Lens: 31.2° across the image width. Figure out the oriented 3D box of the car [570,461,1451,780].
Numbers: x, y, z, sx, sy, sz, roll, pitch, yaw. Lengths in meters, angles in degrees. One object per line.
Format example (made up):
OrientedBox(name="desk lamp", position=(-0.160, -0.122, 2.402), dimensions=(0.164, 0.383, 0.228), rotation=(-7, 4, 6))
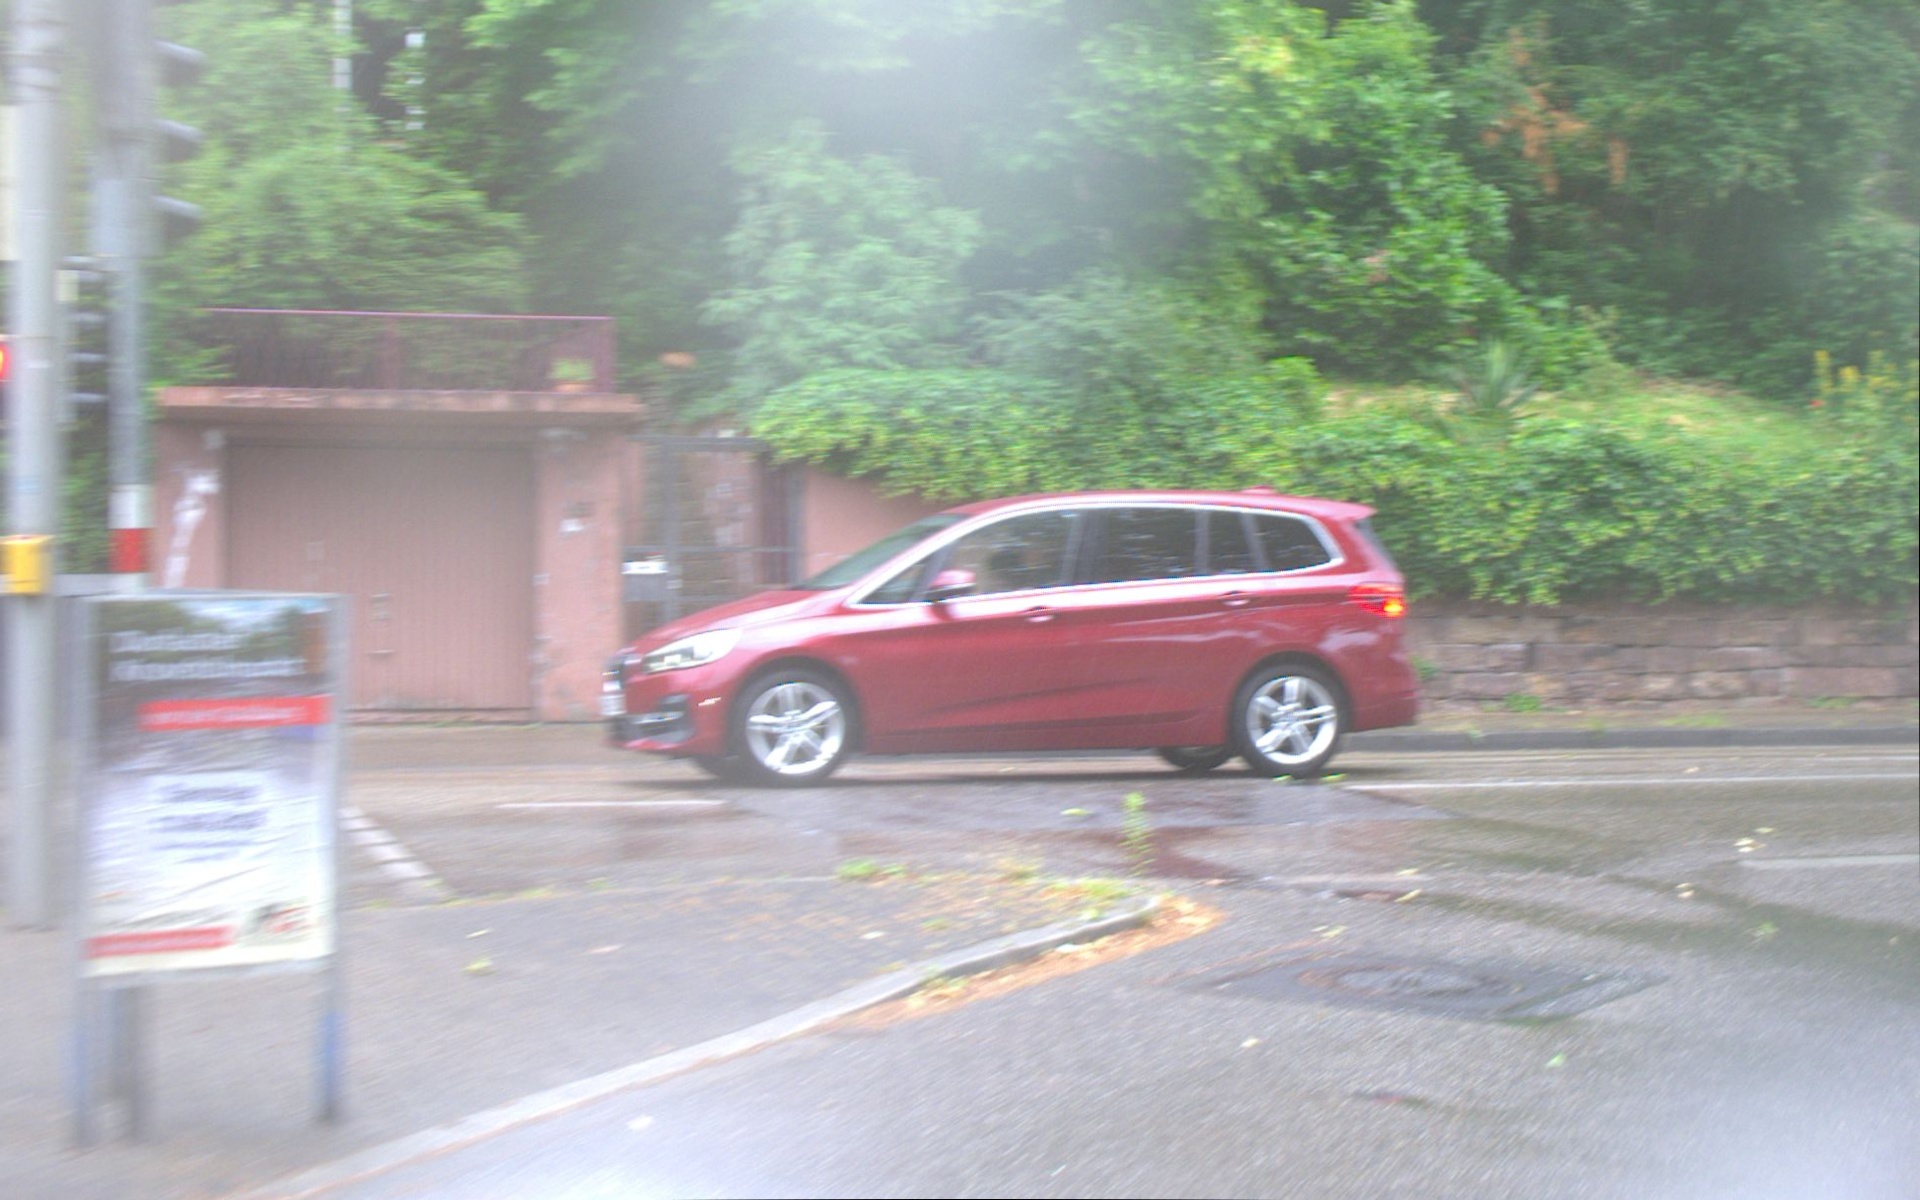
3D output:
OrientedBox(name="car", position=(0.245, 0.085, 19.151), dimensions=(4.566, 1.595, 1.775), rotation=(-1, 0, -15))
